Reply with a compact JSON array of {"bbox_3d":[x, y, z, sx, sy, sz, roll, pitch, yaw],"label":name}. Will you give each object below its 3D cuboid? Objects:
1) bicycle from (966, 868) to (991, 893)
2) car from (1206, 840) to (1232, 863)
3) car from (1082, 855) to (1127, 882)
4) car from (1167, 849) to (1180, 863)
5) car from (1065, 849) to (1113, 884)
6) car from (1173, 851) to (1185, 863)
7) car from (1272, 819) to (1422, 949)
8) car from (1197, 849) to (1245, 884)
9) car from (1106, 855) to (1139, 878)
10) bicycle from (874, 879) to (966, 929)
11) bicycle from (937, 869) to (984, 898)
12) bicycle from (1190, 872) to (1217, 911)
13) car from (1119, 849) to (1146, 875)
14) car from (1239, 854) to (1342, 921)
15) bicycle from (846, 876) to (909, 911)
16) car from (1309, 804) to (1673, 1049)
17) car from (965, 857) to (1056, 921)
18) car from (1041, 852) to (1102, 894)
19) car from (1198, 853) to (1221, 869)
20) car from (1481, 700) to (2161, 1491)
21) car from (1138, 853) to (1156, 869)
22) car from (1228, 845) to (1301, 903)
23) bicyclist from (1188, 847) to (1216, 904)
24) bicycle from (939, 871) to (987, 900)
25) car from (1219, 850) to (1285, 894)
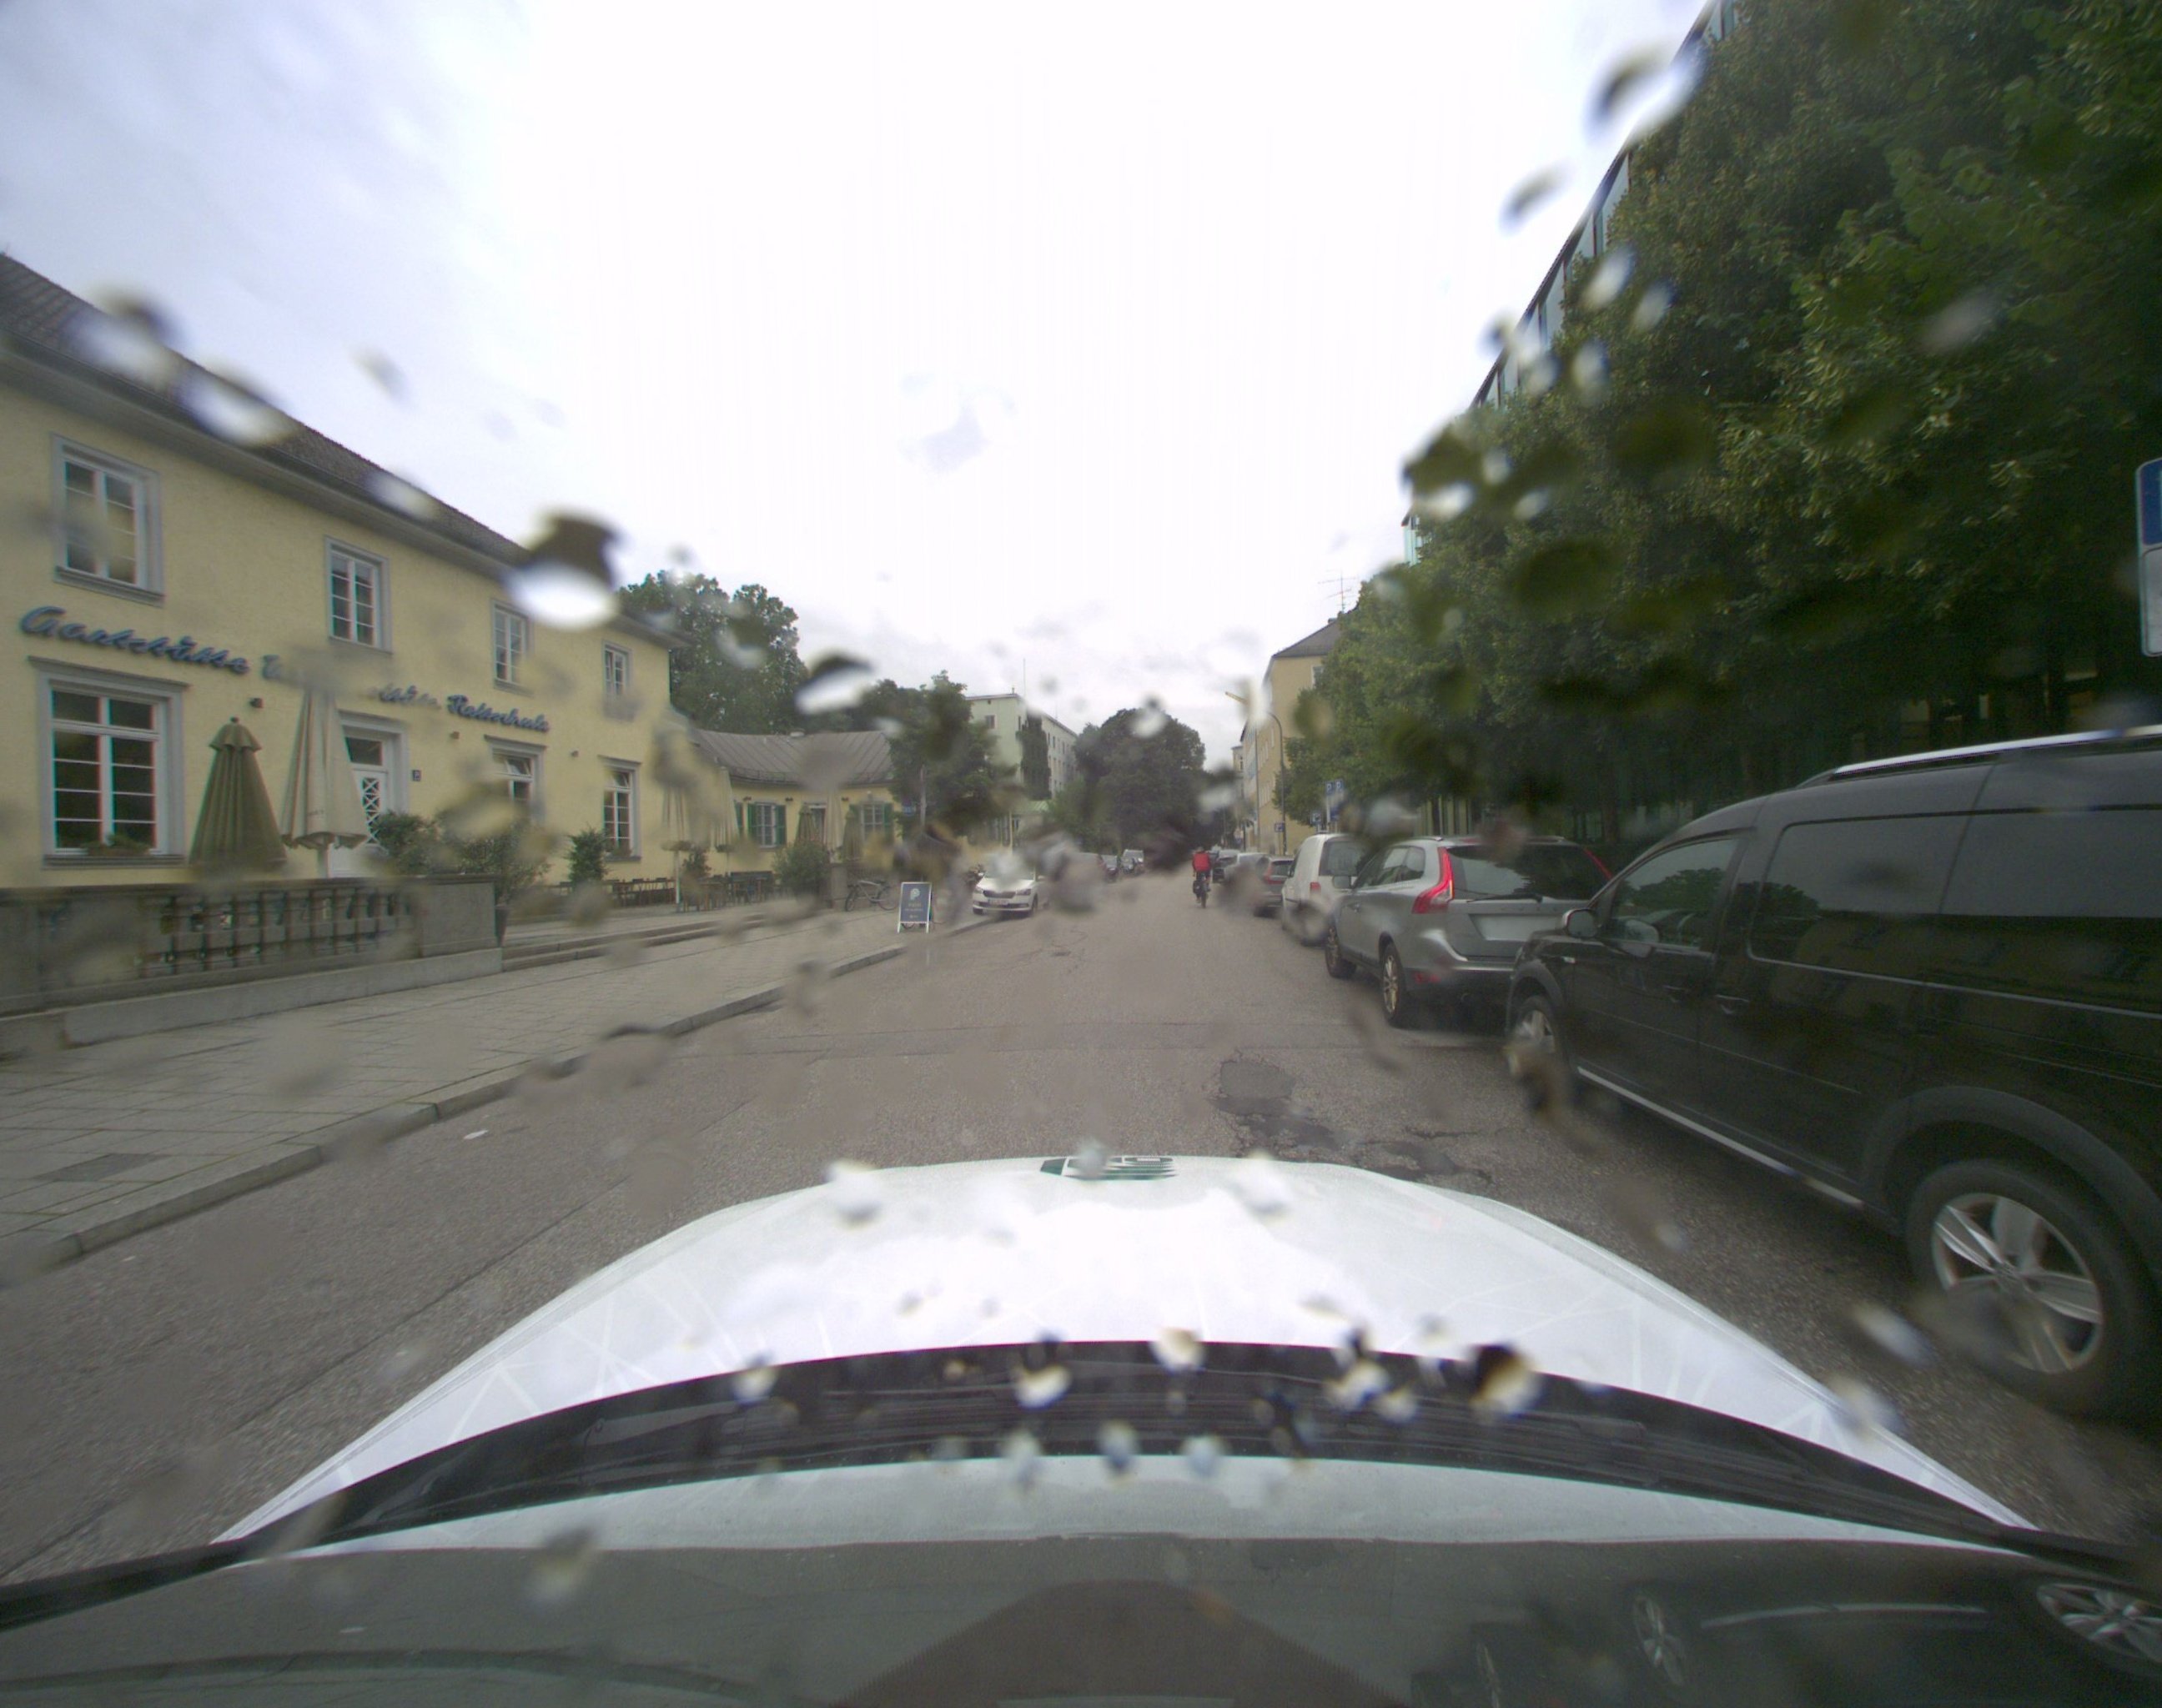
[{"bbox_3d":[-4.345,1.115,34.695,0.618,1.004,1.623,-1,-1,10],"label":"bicycle"},{"bbox_3d":[13.052,-0.199,77.041,1.984,2.060,4.629,-1,0,4],"label":"car"},{"bbox_3d":[1.416,0.804,47.306,1.981,1.486,4.011,1,0,10],"label":"car"},{"bbox_3d":[14.347,0.286,126.667,1.983,2.098,4.007,1,0,6],"label":"car"},{"bbox_3d":[0.445,0.609,40.361,1.984,1.603,4.006,-1,-1,5],"label":"car"},{"bbox_3d":[16.637,0.535,138.106,1.982,2.014,4.008,1,-1,8],"label":"car"},{"bbox_3d":[4.528,0.449,14.483,1.740,1.943,4.236,-2,0,8],"label":"car"},{"bbox_3d":[6.878,0.573,40.444,1.984,1.618,4.005,-1,0,4],"label":"car"},{"bbox_3d":[2.989,0.866,58.118,1.982,1.486,4.009,-2,0,8],"label":"car"},{"bbox_3d":[-3.590,1.093,18.365,0.615,1.004,2.153,2,1,37],"label":"bicycle"},{"bbox_3d":[-4.543,1.097,30.814,1.624,1.004,0.617,-2,-1,-32],"label":"bicycle"},{"bbox_3d":[3.300,0.992,22.044,0.618,1.004,2.144,-2,-2,7],"label":"bicycle"},{"bbox_3d":[4.250,0.634,66.649,1.983,2.079,4.007,-2,0,6],"label":"car"},{"bbox_3d":[5.007,0.737,20.002,1.853,1.440,4.263,-1,0,6],"label":"car"},{"bbox_3d":[-5.694,1.095,22.779,1.619,0.926,0.647,-1,-2,-21],"label":"bicycle"},{"bbox_3d":[3.661,0.545,8.311,1.853,1.794,4.518,-2,0,7],"label":"car"},{"bbox_3d":[-1.869,0.904,22.787,1.724,1.581,3.795,2,0,7],"label":"car"},{"bbox_3d":[-0.336,0.771,35.320,1.983,1.648,4.664,-1,0,7],"label":"car"},{"bbox_3d":[12.946,0.704,82.473,1.984,1.552,4.005,-1,0,4],"label":"car"},{"bbox_3d":[3.483,0.545,3.483,1.752,1.823,4.144,-1,0,4],"label":"car"},{"bbox_3d":[7.292,0.713,89.291,1.801,1.683,4.007,-2,0,6],"label":"car"},{"bbox_3d":[5.754,0.581,25.903,1.853,1.676,3.910,-2,0,7],"label":"car"},{"bbox_3d":[3.292,0.580,22.213,0.668,1.498,1.096,-2,-2,6],"label":"bicyclist"},{"bbox_3d":[-4.269,1.145,29.507,1.619,1.004,0.619,-1,-2,-21],"label":"bicycle"},{"bbox_3d":[6.531,0.639,31.455,1.984,1.552,4.005,-1,0,4],"label":"car"}]
